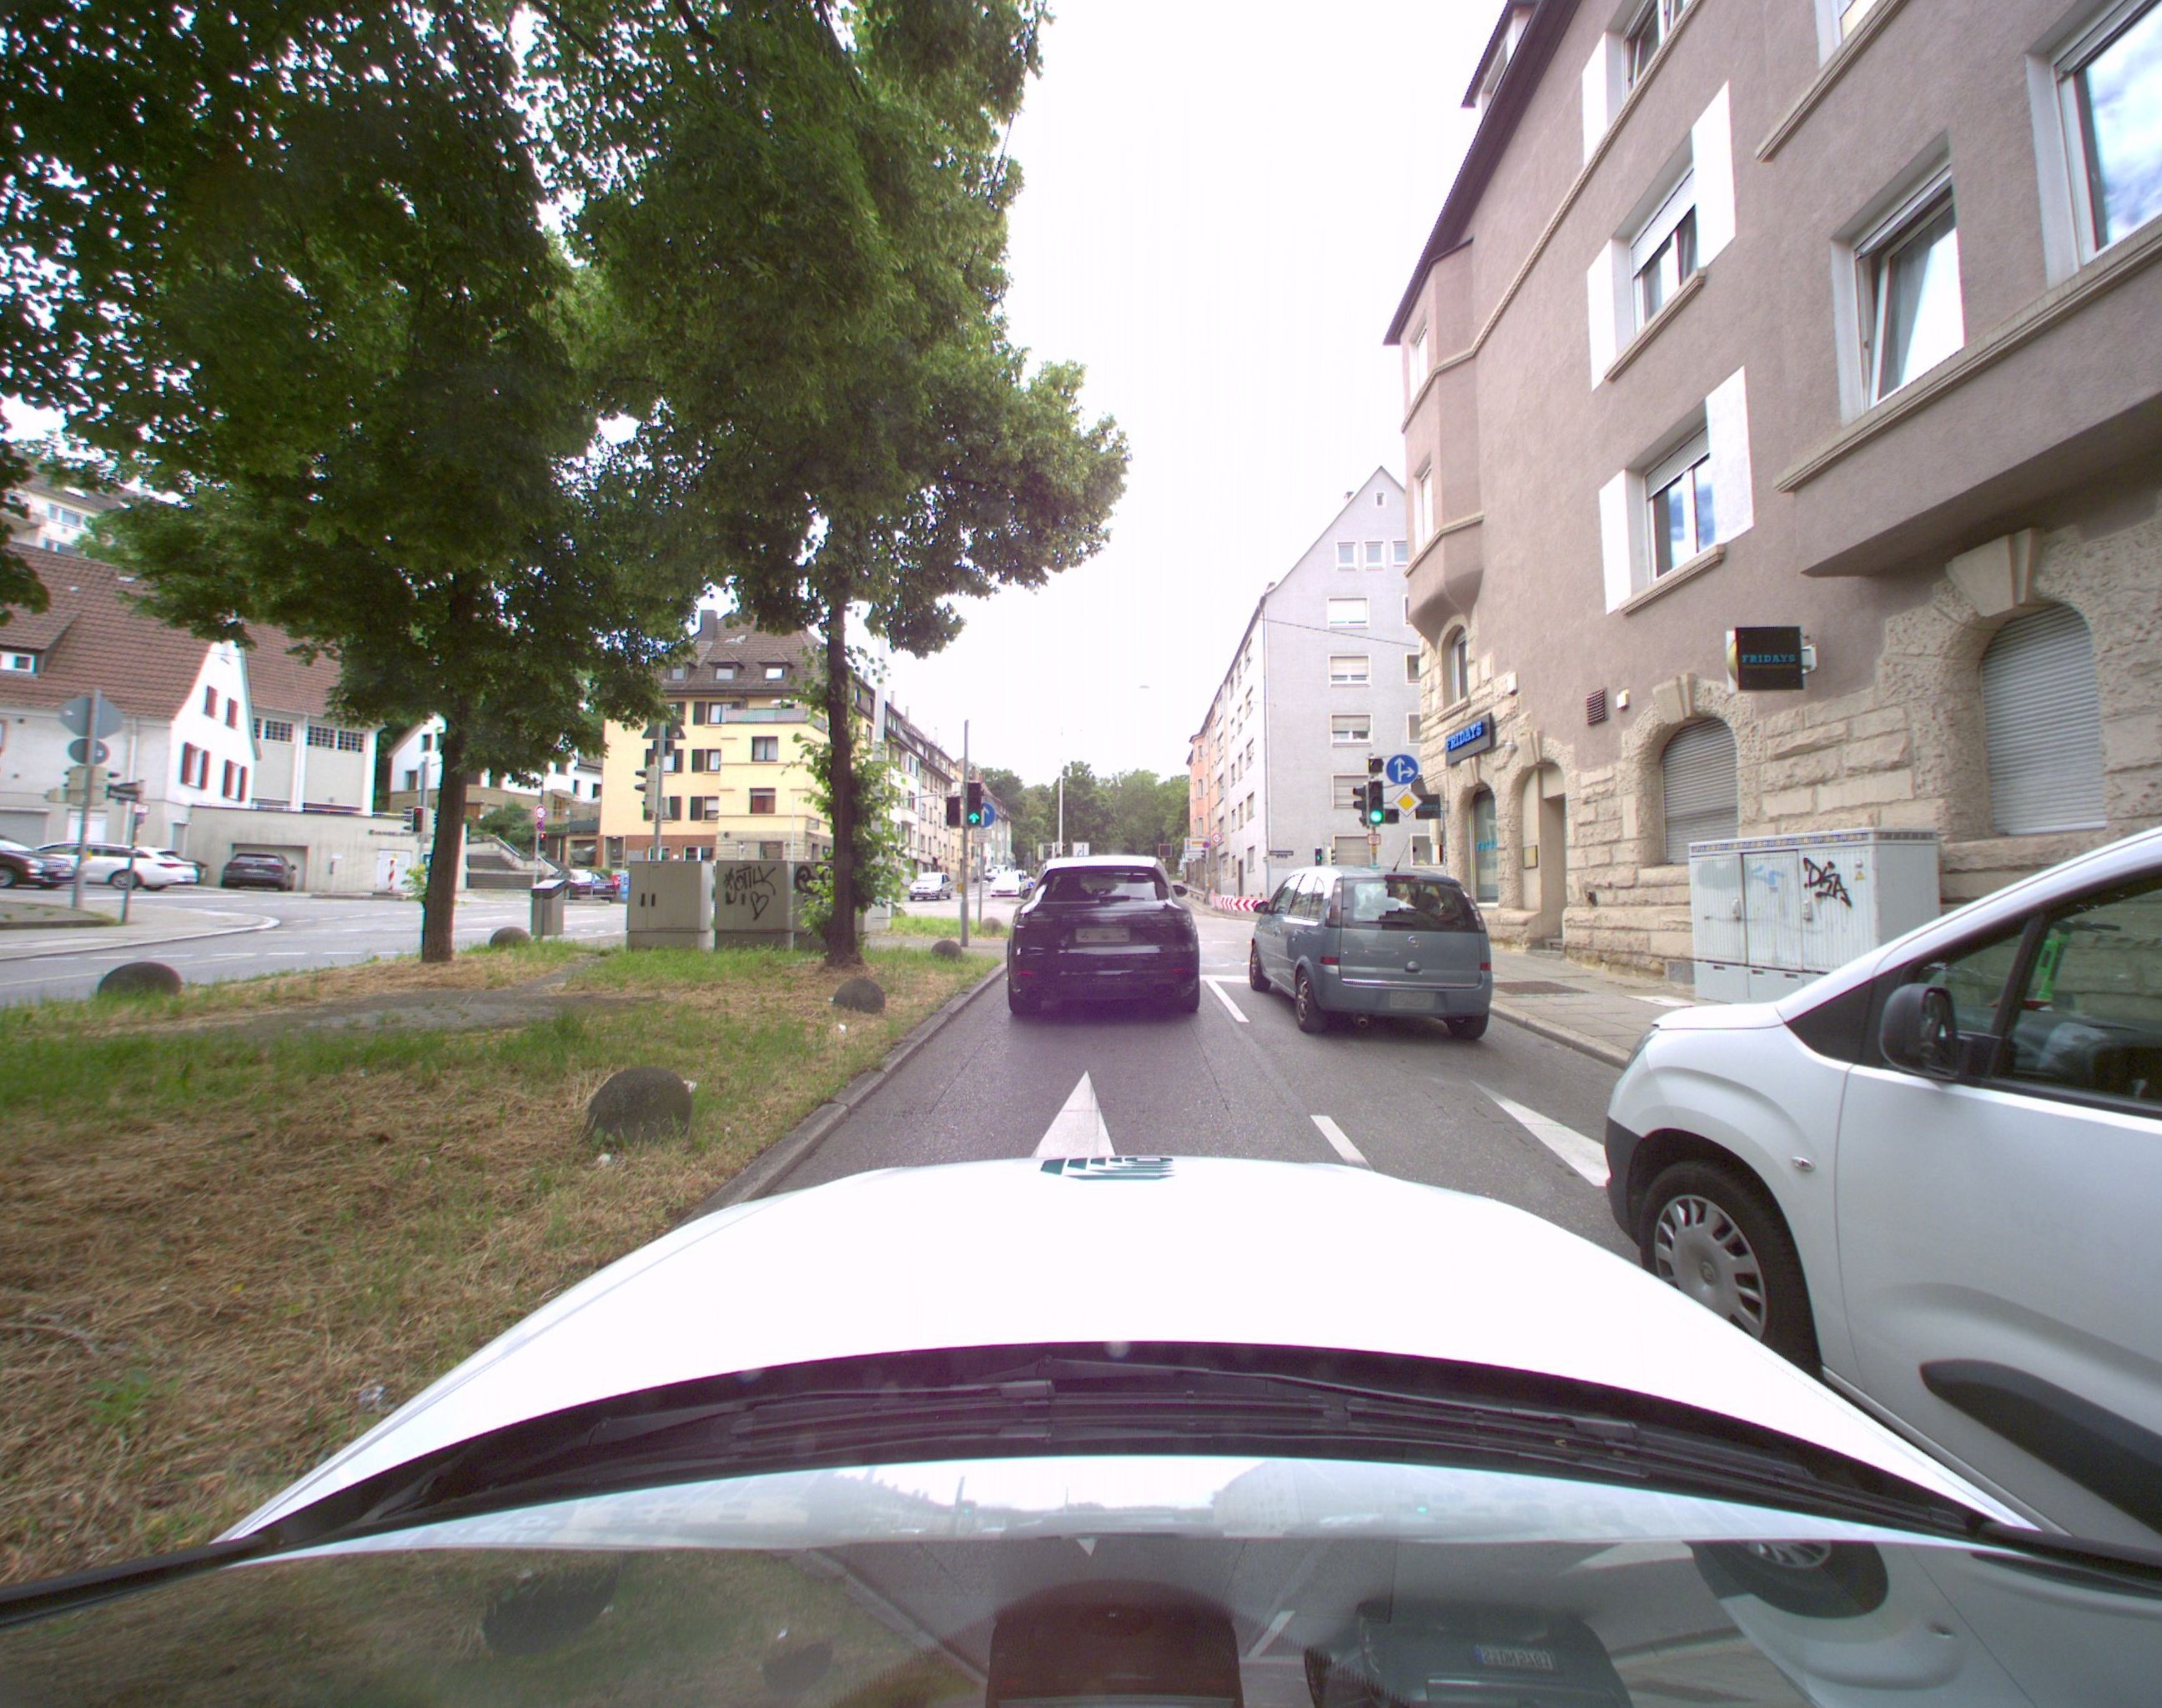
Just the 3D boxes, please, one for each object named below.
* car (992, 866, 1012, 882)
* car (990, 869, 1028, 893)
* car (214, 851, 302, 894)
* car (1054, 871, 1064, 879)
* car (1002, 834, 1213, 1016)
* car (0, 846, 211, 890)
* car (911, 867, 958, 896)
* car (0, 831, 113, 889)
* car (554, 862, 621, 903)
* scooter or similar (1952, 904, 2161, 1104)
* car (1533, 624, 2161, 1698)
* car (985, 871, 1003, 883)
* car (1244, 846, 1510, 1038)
[{"bbox_3d":[-10.131,2.582,104.771,2.008,2.046,4.668,-1,-2,2],"label":"car"},{"bbox_3d":[-4.424,1.680,50.700,1.855,1.388,4.096,-1,-2,2],"label":"car"},{"bbox_3d":[-32.065,0.719,31.738,3.018,1.406,1.681,2,-5,33],"label":"car"},{"bbox_3d":[-3.901,3.709,143.348,1.545,1.257,3.663,-1,-2,2],"label":"car"},{"bbox_3d":[0.300,0.719,9.667,1.948,1.674,4.001,-1,-2,1],"label":"car"},{"bbox_3d":[-30.445,0.439,25.414,4.147,1.279,1.631,0,-2,-31],"label":"car"},{"bbox_3d":[-8.081,1.546,45.252,1.611,1.480,3.828,-1,-3,5],"label":"car"},{"bbox_3d":[-29.517,0.090,22.046,3.720,1.443,1.746,6,-4,-25],"label":"car"},{"bbox_3d":[-23.499,1.330,38.742,3.476,1.596,1.881,6,3,44],"label":"car"},{"bbox_3d":[6.510,0.896,5.136,0.524,1.104,1.424,-1,-2,4],"label":"scooter or similar"},{"bbox_3d":[2.791,0.528,0.895,1.969,1.776,4.675,3,-2,0],"label":"car"},{"bbox_3d":[-10.555,2.819,99.075,1.732,1.387,3.815,-1,-2,2],"label":"car"},{"bbox_3d":[2.949,0.786,8.938,1.622,1.598,3.669,2,-1,1],"label":"car"}]
